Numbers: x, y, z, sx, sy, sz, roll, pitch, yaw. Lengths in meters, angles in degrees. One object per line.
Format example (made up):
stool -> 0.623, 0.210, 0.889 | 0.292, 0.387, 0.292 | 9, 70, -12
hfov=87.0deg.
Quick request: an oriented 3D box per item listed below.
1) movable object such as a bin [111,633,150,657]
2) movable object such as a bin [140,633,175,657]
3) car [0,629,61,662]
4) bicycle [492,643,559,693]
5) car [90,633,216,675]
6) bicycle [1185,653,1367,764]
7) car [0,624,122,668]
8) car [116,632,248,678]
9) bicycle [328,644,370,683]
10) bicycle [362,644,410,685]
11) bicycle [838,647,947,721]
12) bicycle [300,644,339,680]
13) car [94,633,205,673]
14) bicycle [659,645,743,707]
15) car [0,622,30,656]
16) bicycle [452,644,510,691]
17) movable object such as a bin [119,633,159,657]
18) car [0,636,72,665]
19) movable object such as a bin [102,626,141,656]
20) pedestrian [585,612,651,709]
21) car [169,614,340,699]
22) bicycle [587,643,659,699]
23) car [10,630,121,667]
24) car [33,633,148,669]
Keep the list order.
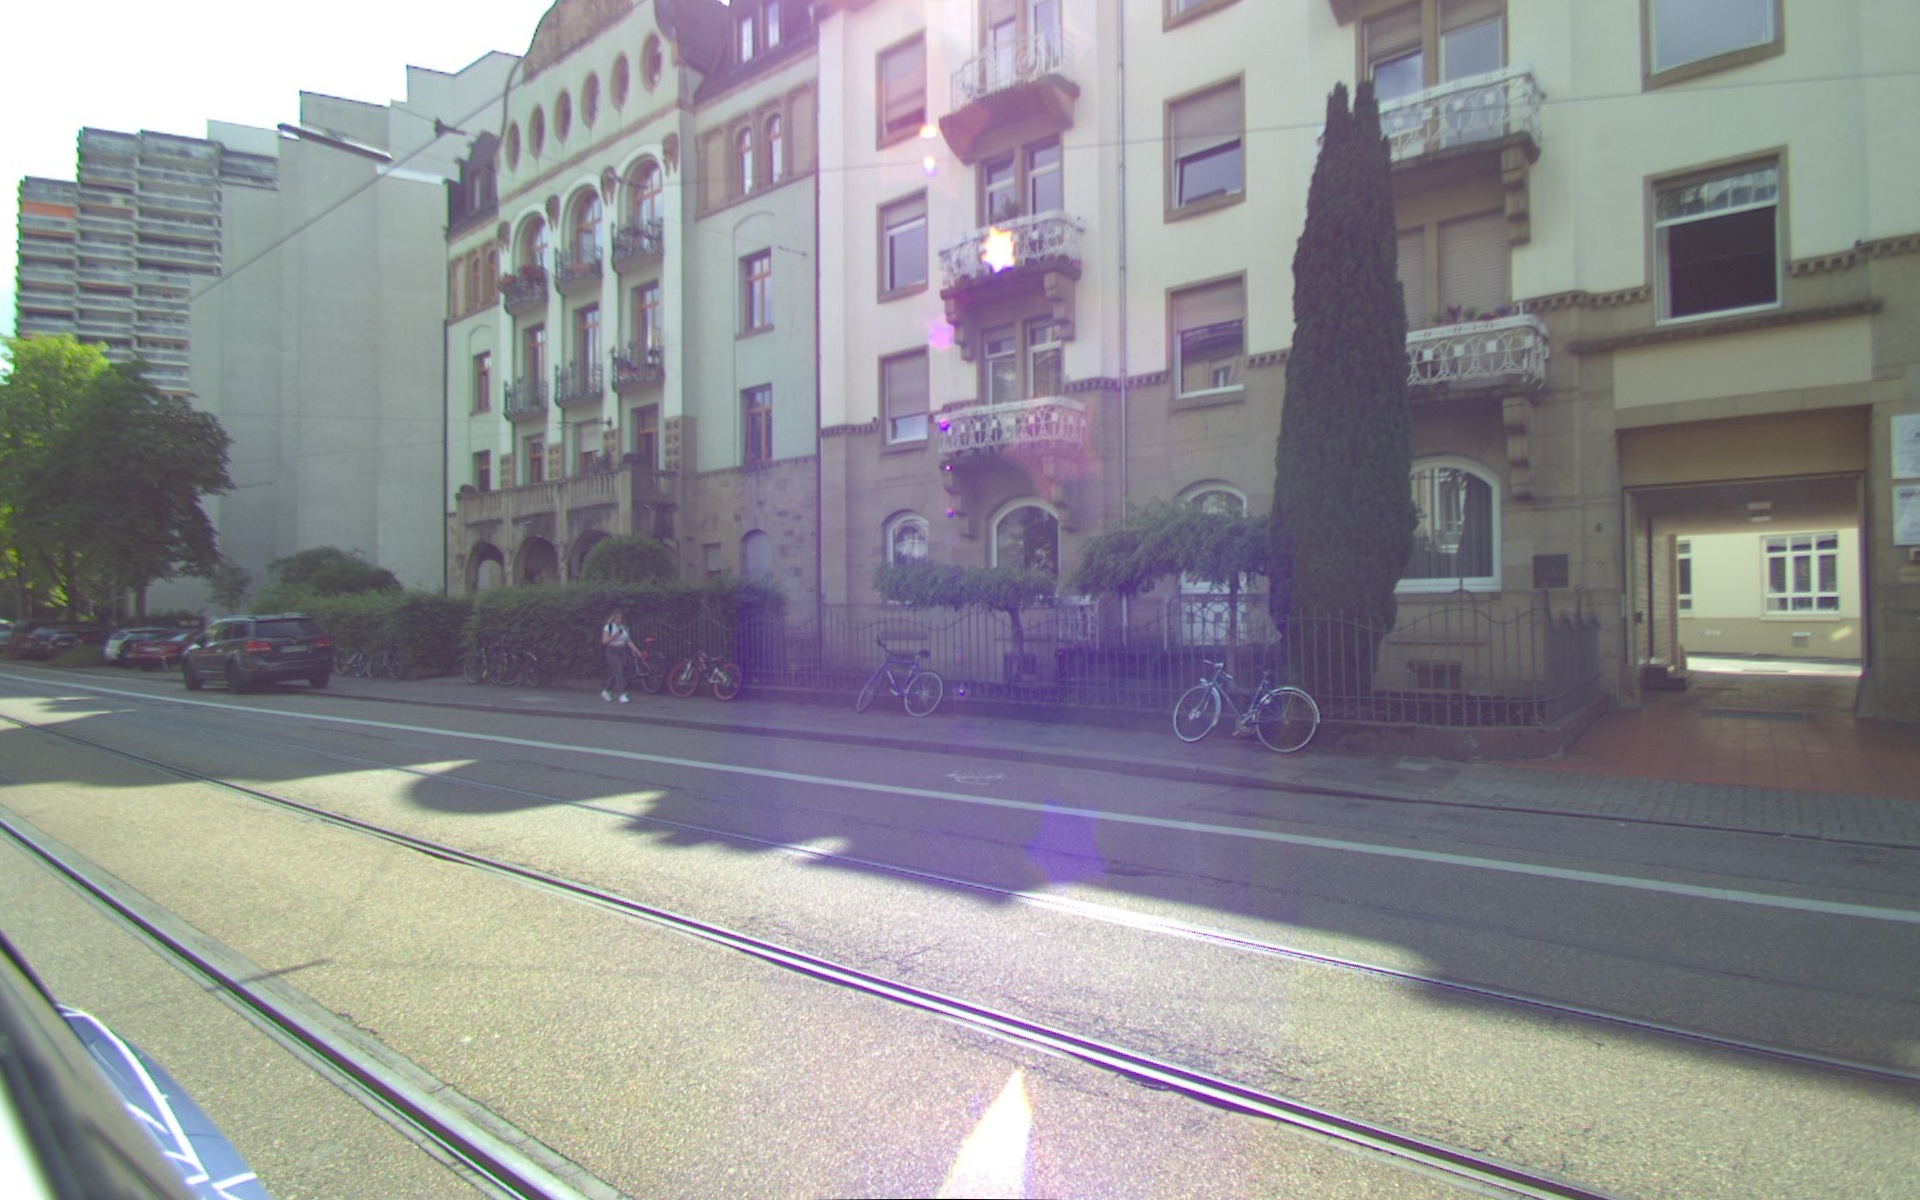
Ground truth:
movable object such as a bin -> -49.789, 2.674, 60.724 | 1.535, 1.374, 1.375 | -1, -4, 34
movable object such as a bin -> -44.744, 2.522, 56.424 | 1.439, 1.293, 1.157 | -1, -5, 37
car -> -50.425, 2.416, 54.030 | 1.733, 1.706, 3.719 | 1, -3, -5
bicycle -> -8.922, 1.385, 20.744 | 1.798, 0.966, 0.447 | -2, 0, 38
car -> -30.138, 2.024, 37.936 | 1.673, 1.495, 3.808 | 1, -3, -1
bicycle -> 3.310, 1.109, 10.732 | 0.505, 0.966, 1.816 | -3, 3, -44
car -> -42.824, 2.217, 48.283 | 1.886, 1.969, 5.176 | 1, -3, -8
car -> -27.527, 1.950, 35.986 | 1.818, 1.495, 3.974 | 1, -3, -5
bicycle -> -16.075, 1.648, 26.602 | 1.808, 0.966, 0.379 | -2, 0, 40
bicycle -> -14.253, 1.591, 25.120 | 1.919, 0.966, 0.379 | -2, 0, 40
bicycle -> -0.969, 1.162, 14.281 | 1.704, 0.966, 0.422 | -2, 0, 40
bicycle -> -17.688, 1.695, 27.929 | 1.808, 0.966, 0.379 | -2, 0, 40
car -> -32.216, 2.107, 40.362 | 1.671, 1.495, 3.813 | 1, -3, -7
bicycle -> -4.386, 1.257, 17.044 | 1.799, 0.983, 0.379 | -2, 0, 40
car -> -58.043, 2.305, 59.851 | 1.939, 2.012, 4.689 | 0, -2, -3
bicycle -> -10.551, 1.464, 22.247 | 1.919, 0.966, 0.379 | -2, 0, 40
movable object such as a bin -> -48.460, 2.673, 59.737 | 1.535, 1.374, 1.375 | -1, -4, 34
car -> -47.940, 2.570, 51.823 | 1.733, 1.428, 4.006 | 1, -3, -8
movable object such as a bin -> -51.178, 2.507, 61.790 | 1.535, 1.795, 1.375 | -1, -4, 34
pedestrian -> -5.821, 1.004, 17.229 | 0.881, 1.580, 0.673 | -2, 0, 41
car -> -16.398, 1.256, 23.430 | 4.873, 1.776, 1.769 | -2, -2, 36
bicycle -> -6.241, 1.297, 18.698 | 1.799, 0.966, 0.379 | -2, 0, 40
car -> -40.403, 2.213, 45.826 | 1.714, 1.605, 4.005 | 1, -3, -6
car -> -37.747, 2.227, 44.063 | 1.715, 1.495, 4.003 | 1, -3, -4
